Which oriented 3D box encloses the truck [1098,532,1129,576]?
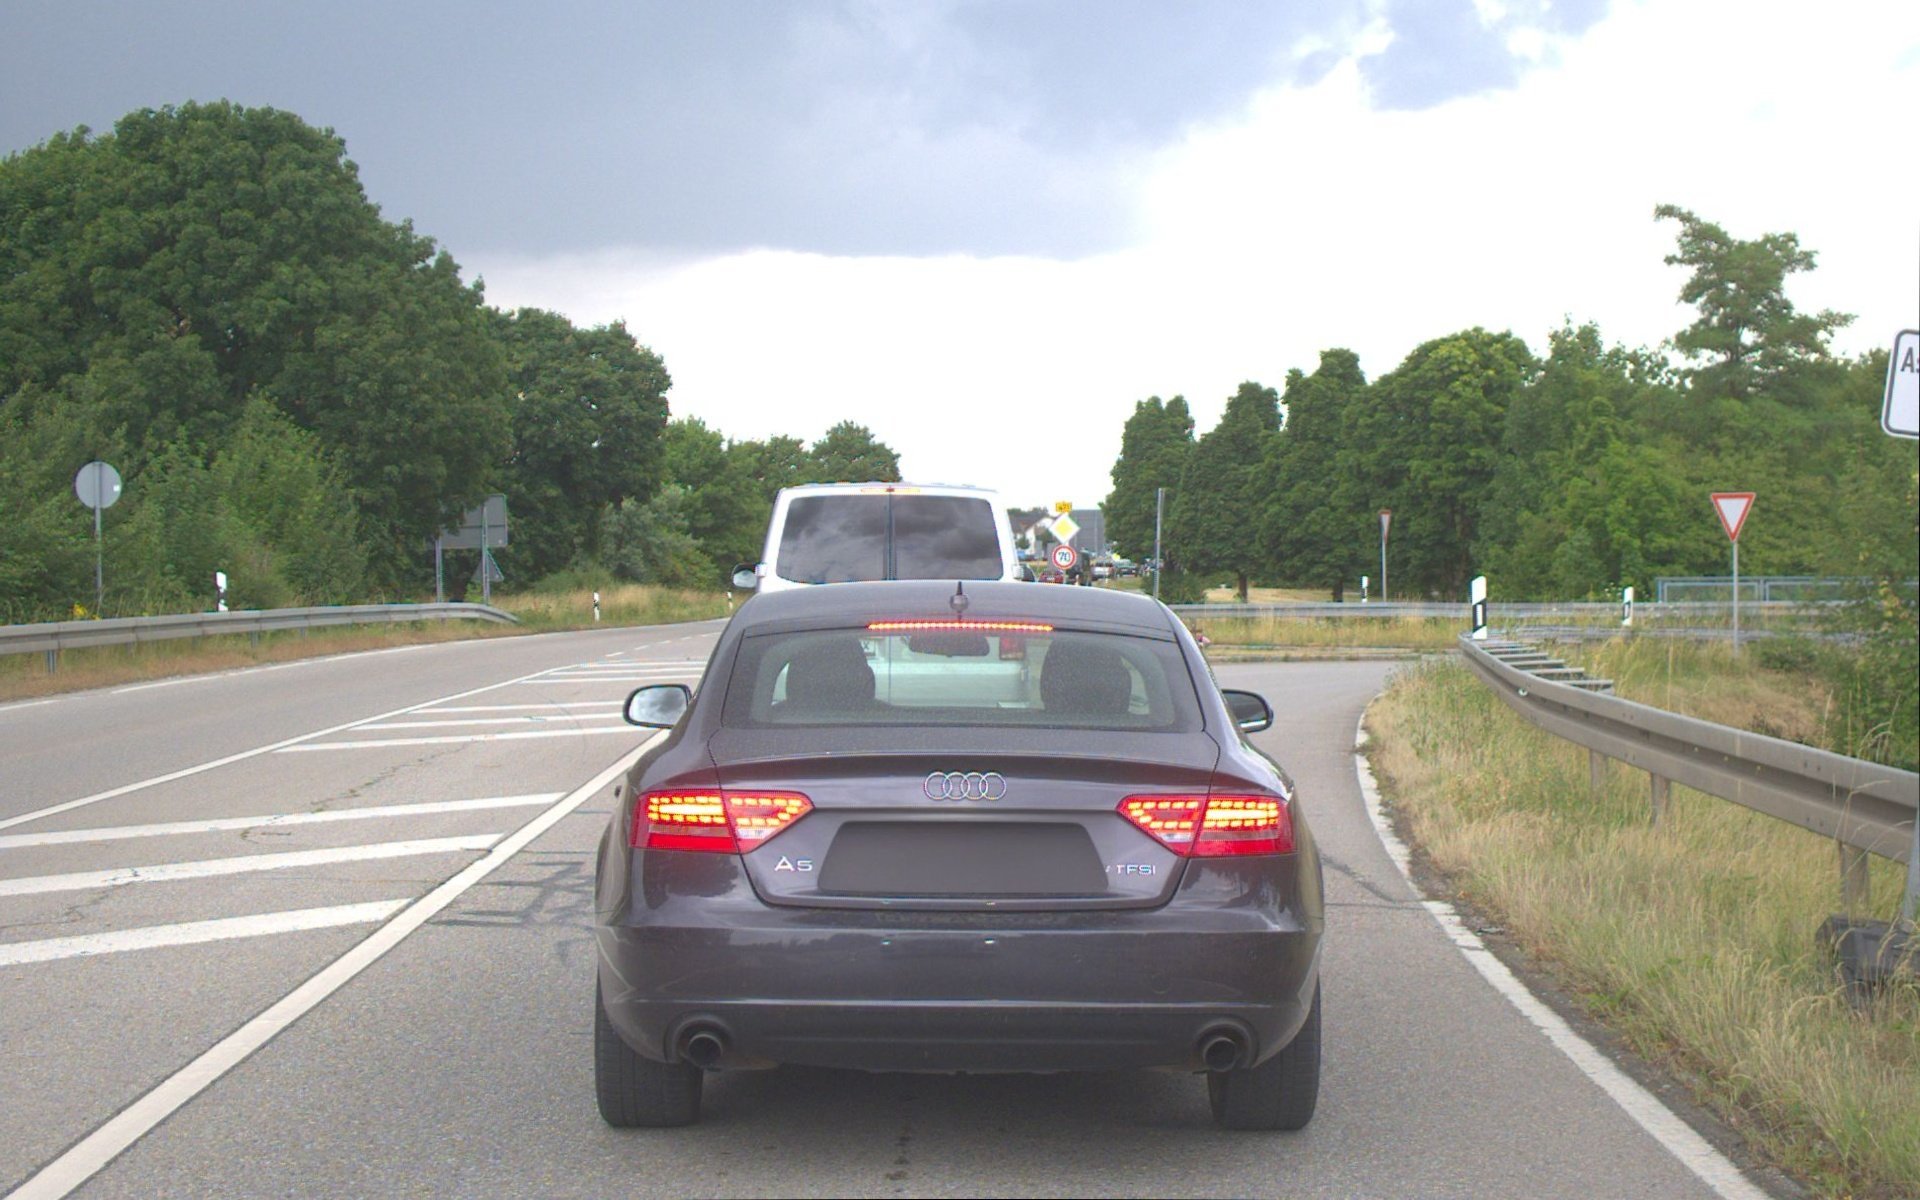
[{"bbox_3d":[10.355,-3.136,232.759,1.993,2.908,5.793,1,1,2],"label":"truck"}]

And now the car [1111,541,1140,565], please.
[{"bbox_3d":[12.054,-3.412,251.008,1.993,1.686,4.000,1,1,1],"label":"car"}]

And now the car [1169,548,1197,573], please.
[{"bbox_3d":[15.812,-2.810,243.536,1.876,1.686,3.999,1,1,5],"label":"car"}]

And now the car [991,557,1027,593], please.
[{"bbox_3d":[2.837,-1.453,196.908,1.993,2.007,4.000,1,1,1],"label":"car"}]

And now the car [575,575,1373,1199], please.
[{"bbox_3d":[-0.014,0.646,9.367,1.779,1.394,3.337,0,1,-2],"label":"car"}]

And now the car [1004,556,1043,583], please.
[{"bbox_3d":[3.920,-1.873,212.973,2.205,1.577,4.379,1,1,-1],"label":"car"}]

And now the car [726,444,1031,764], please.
[{"bbox_3d":[-0.563,-0.013,23.819,1.910,2.007,4.000,1,1,-1],"label":"car"}]

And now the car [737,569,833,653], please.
[{"bbox_3d":[-3.393,0.195,67.206,1.710,1.513,4.210,1,1,-1],"label":"car"}]
